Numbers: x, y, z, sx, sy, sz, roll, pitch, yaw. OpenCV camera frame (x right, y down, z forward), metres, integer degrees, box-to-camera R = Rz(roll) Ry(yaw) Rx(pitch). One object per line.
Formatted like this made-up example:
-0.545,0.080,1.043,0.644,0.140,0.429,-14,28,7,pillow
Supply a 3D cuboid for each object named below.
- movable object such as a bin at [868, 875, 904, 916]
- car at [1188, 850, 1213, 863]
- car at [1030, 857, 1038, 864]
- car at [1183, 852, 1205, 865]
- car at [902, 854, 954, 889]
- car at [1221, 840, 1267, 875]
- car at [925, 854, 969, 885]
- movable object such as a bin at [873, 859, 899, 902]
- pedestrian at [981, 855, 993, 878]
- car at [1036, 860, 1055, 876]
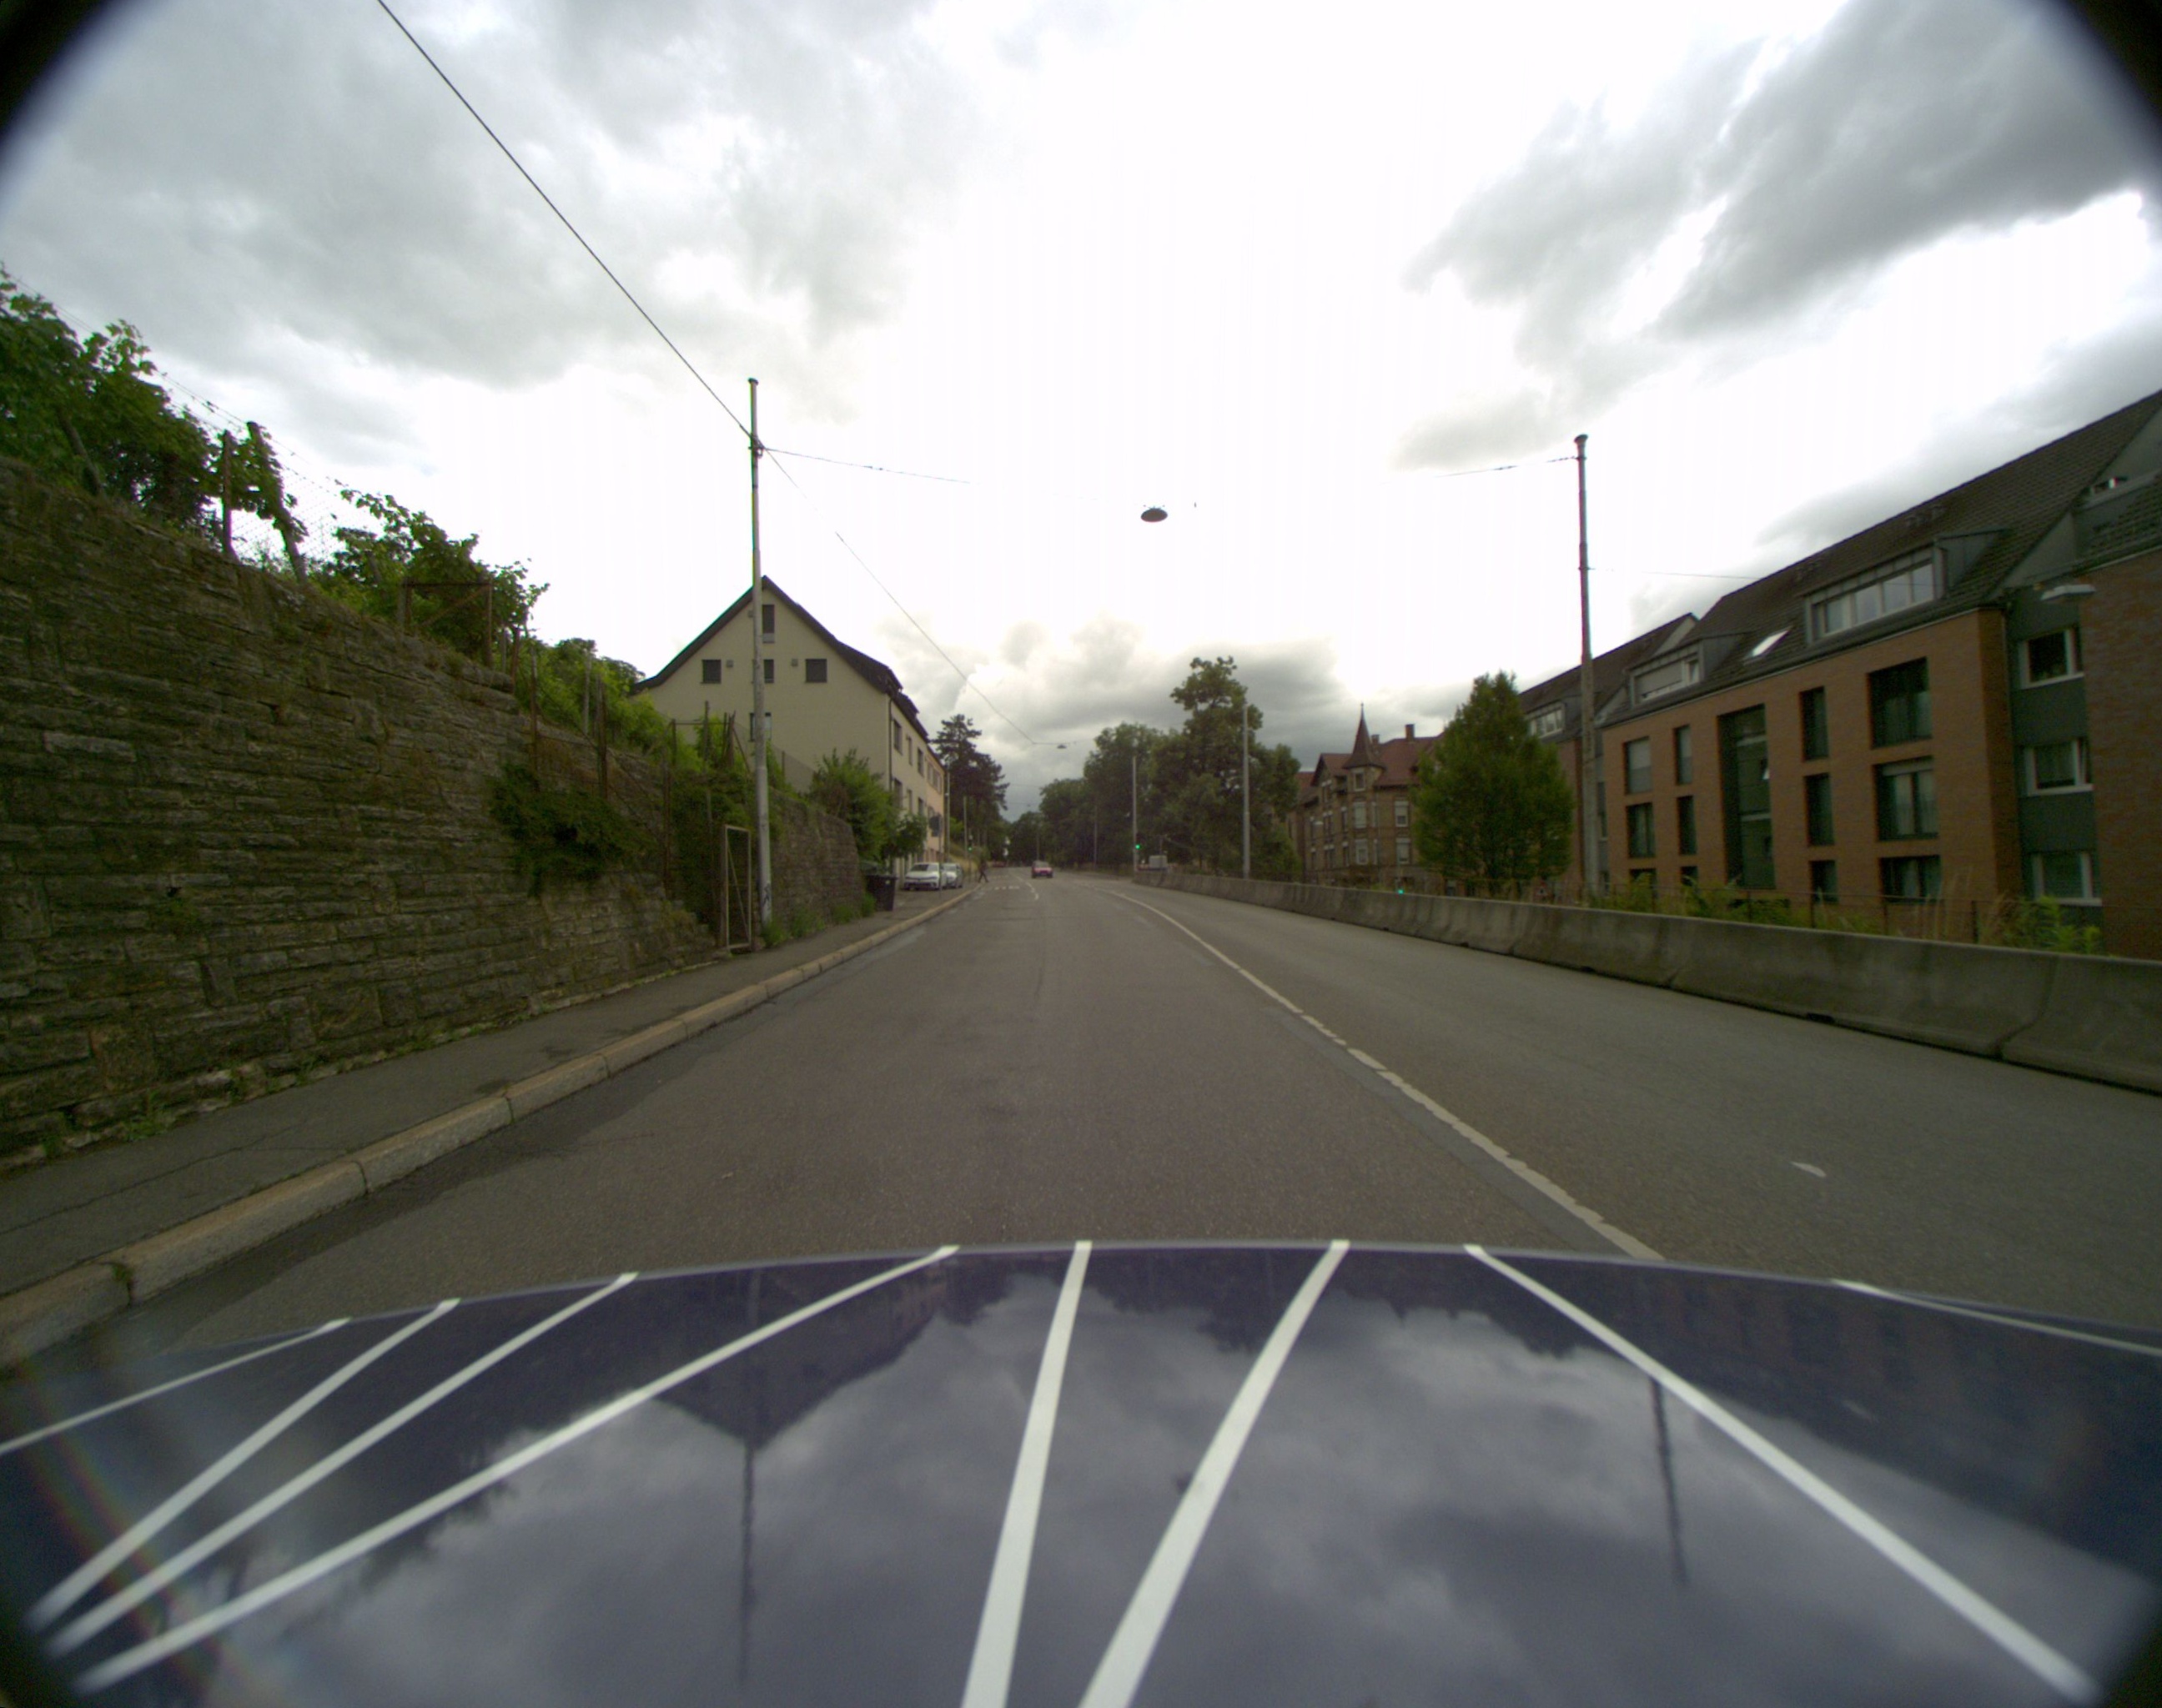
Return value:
-5.657,1.182,22.100,0.811,1.120,0.874,-2,0,-2,movable object such as a bin
12.639,0.269,80.541,1.999,1.346,4.000,0,0,0,car
-12.640,1.768,203.906,1.999,1.838,3.999,-2,0,-3,car
13.576,0.524,91.306,1.999,1.543,4.000,-1,0,0,car
-7.697,0.820,38.623,1.799,1.566,4.054,-3,1,-1,car
12.942,0.236,60.658,2.565,2.567,5.735,-3,1,2,car
-7.580,0.860,43.387,1.732,1.566,4.248,-3,1,-1,car
-7.135,0.952,27.863,0.753,1.533,1.064,-2,0,-8,movable object such as a bin
-7.147,0.968,57.771,0.735,1.702,0.696,-2,1,2,pedestrian
-3.183,1.257,68.397,1.646,1.429,3.999,-1,-1,-3,car
